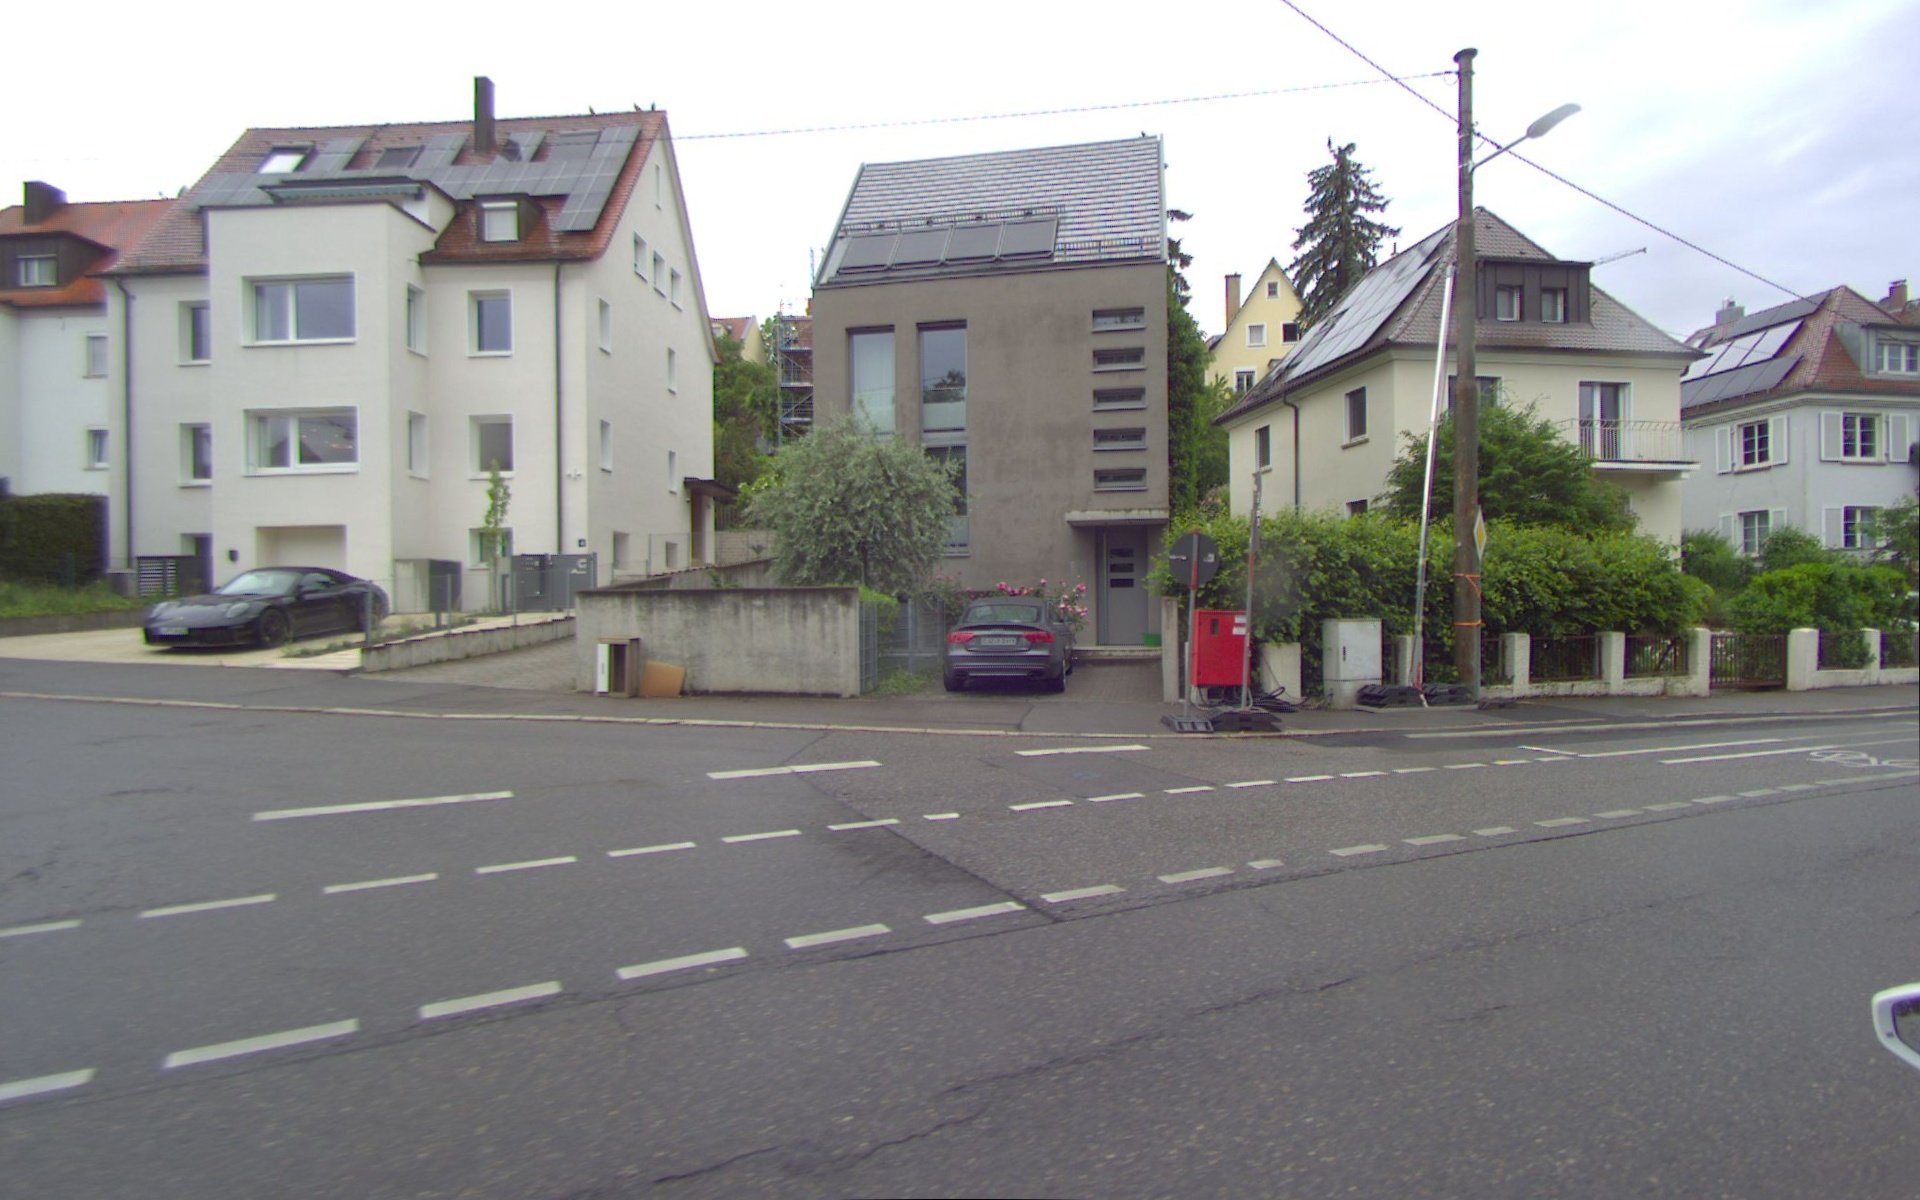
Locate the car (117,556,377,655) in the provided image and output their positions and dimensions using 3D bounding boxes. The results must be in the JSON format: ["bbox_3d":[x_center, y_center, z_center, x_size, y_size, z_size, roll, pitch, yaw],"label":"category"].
[{"bbox_3d":[-12.403,0.083,17.814,1.700,1.528,3.820,1,0,4],"label":"car"}]

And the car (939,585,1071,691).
[{"bbox_3d":[0.842,0.523,16.073,1.802,1.463,4.002,0,0,7],"label":"car"}]

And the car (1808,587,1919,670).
[{"bbox_3d":[24.301,0.704,25.438,1.800,2.040,3.986,1,0,-16],"label":"car"}]
